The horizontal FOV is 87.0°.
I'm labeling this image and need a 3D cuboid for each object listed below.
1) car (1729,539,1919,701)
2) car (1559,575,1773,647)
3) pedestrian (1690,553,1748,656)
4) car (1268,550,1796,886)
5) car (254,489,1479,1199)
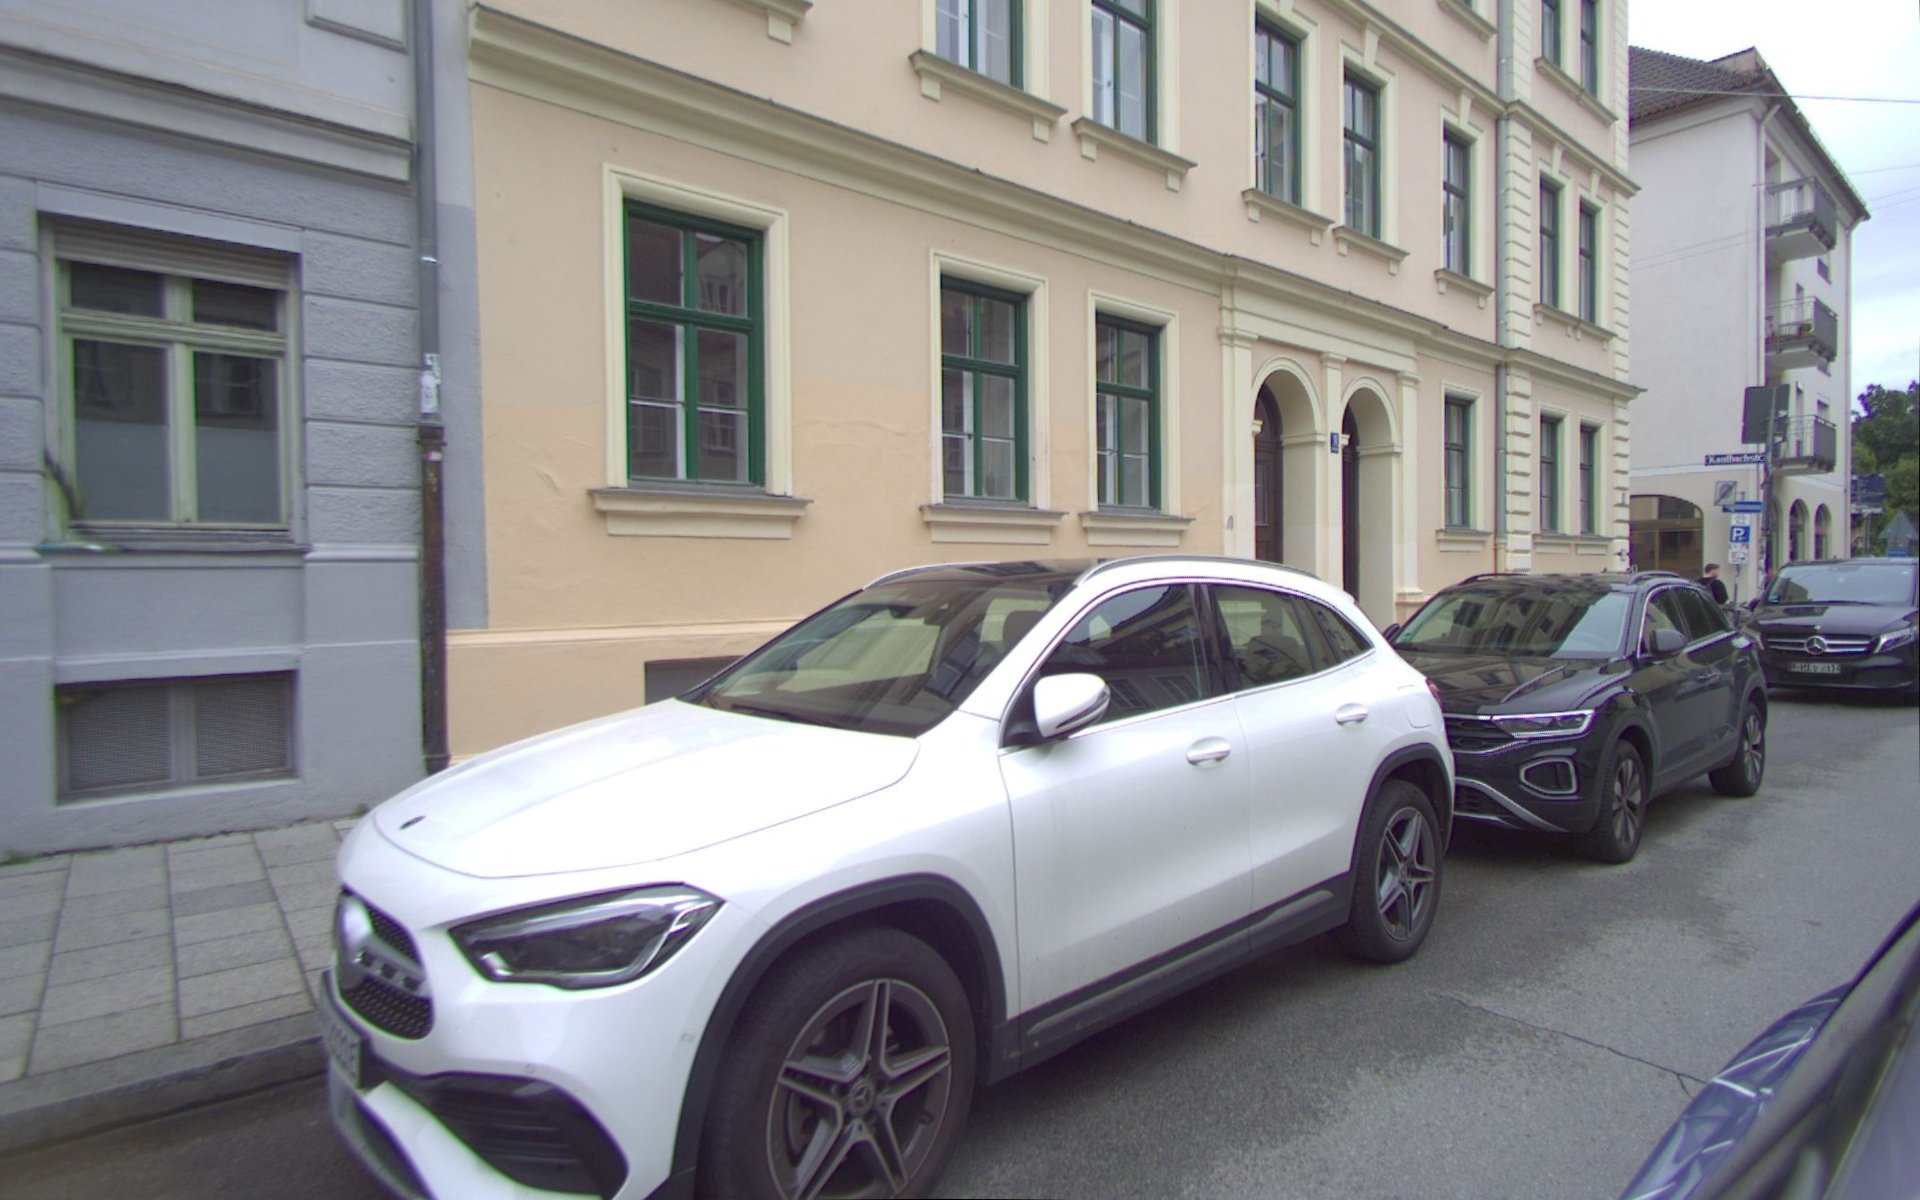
[{"bbox_3d":[12.584,0.177,13.933,5.021,1.884,1.998,-1,1,-38],"label":"car"},{"bbox_3d":[16.937,0.214,24.414,1.683,1.585,3.992,-1,1,-42],"label":"car"},{"bbox_3d":[13.758,0.072,18.343,0.717,1.825,0.697,-1,1,-40],"label":"pedestrian"},{"bbox_3d":[3.969,0.509,6.738,4.069,1.586,1.721,-1,1,-39],"label":"car"},{"bbox_3d":[0.120,0.586,3.676,4.248,1.621,1.720,-1,1,-41],"label":"car"}]
